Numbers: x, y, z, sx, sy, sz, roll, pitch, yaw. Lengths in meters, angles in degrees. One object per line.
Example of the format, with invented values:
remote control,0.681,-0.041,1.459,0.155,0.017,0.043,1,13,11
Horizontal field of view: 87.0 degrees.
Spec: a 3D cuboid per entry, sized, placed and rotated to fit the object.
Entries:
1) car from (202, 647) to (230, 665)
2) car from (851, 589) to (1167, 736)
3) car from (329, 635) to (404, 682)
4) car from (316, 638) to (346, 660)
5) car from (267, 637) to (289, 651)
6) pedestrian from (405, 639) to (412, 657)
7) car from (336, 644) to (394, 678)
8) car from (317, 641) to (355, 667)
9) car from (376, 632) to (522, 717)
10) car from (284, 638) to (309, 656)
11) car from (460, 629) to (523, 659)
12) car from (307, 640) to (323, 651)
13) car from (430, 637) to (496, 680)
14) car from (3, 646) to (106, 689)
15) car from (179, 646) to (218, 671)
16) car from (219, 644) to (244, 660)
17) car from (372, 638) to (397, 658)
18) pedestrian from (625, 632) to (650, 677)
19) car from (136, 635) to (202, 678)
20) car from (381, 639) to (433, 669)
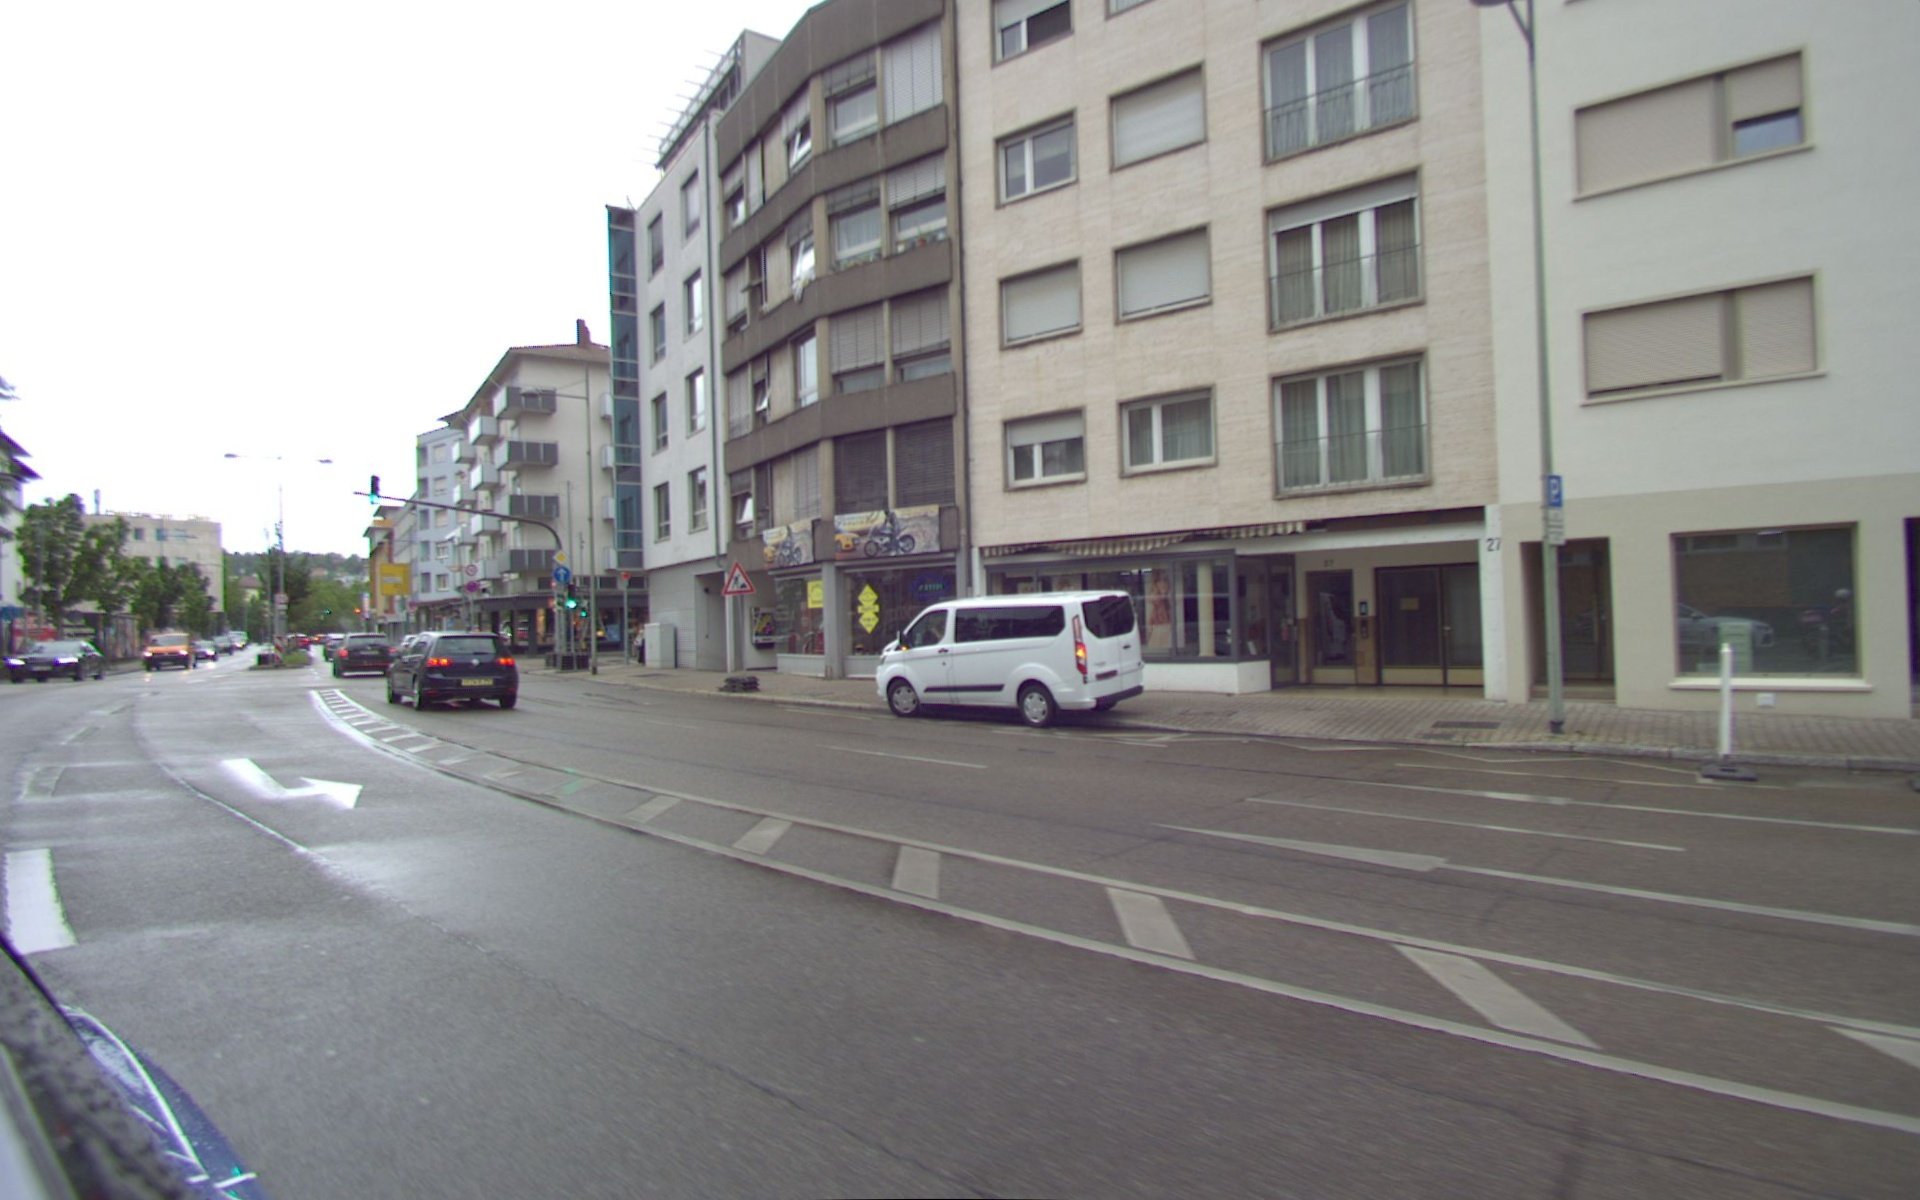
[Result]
car,-66.333,4.951,90.266,1.784,1.352,4.011,-3,0,-33
car,0.684,0.916,17.052,5.128,2.029,2.096,-1,2,42
car,-20.074,1.947,34.135,1.956,1.470,4.498,2,-3,-33
car,-46.980,3.618,75.569,1.805,1.555,4.295,0,-2,-33
car,-73.716,4.785,109.372,1.820,1.428,4.625,3,-4,-36
pedestrian,-51.982,4.521,95.340,0.504,1.701,0.532,1,-1,-33
car,-26.645,2.674,45.264,1.800,1.376,4.614,1,-2,-35
car,-36.849,3.160,59.840,1.827,1.485,4.661,1,-2,-31
car,-10.059,1.396,19.786,1.662,1.484,4.007,3,-4,-39
car,-62.135,4.402,94.812,1.821,1.606,4.102,0,-2,-32
car,-34.094,3.168,73.640,3.932,2.070,1.900,0,-2,-32
car,-88.405,6.195,138.688,1.675,1.452,3.850,2,-3,-33
car,-17.698,2.053,35.949,1.698,1.410,3.604,1,-2,-33
car,-30.839,2.299,34.592,1.782,1.349,4.290,0,-4,-30
car,-53.172,4.055,70.727,1.813,1.453,4.011,-3,0,-32
car,-80.904,5.780,112.463,1.966,1.620,4.011,-3,0,-33
car,-47.210,3.930,83.004,1.748,1.535,4.296,0,-2,-31
pedestrian,-11.881,1.993,37.309,0.618,1.620,0.831,-1,-2,4
car,-42.905,2.994,55.013,2.163,2.102,5.950,-1,-1,-32
car,-29.083,2.831,53.170,1.903,1.485,4.615,3,-3,-35
